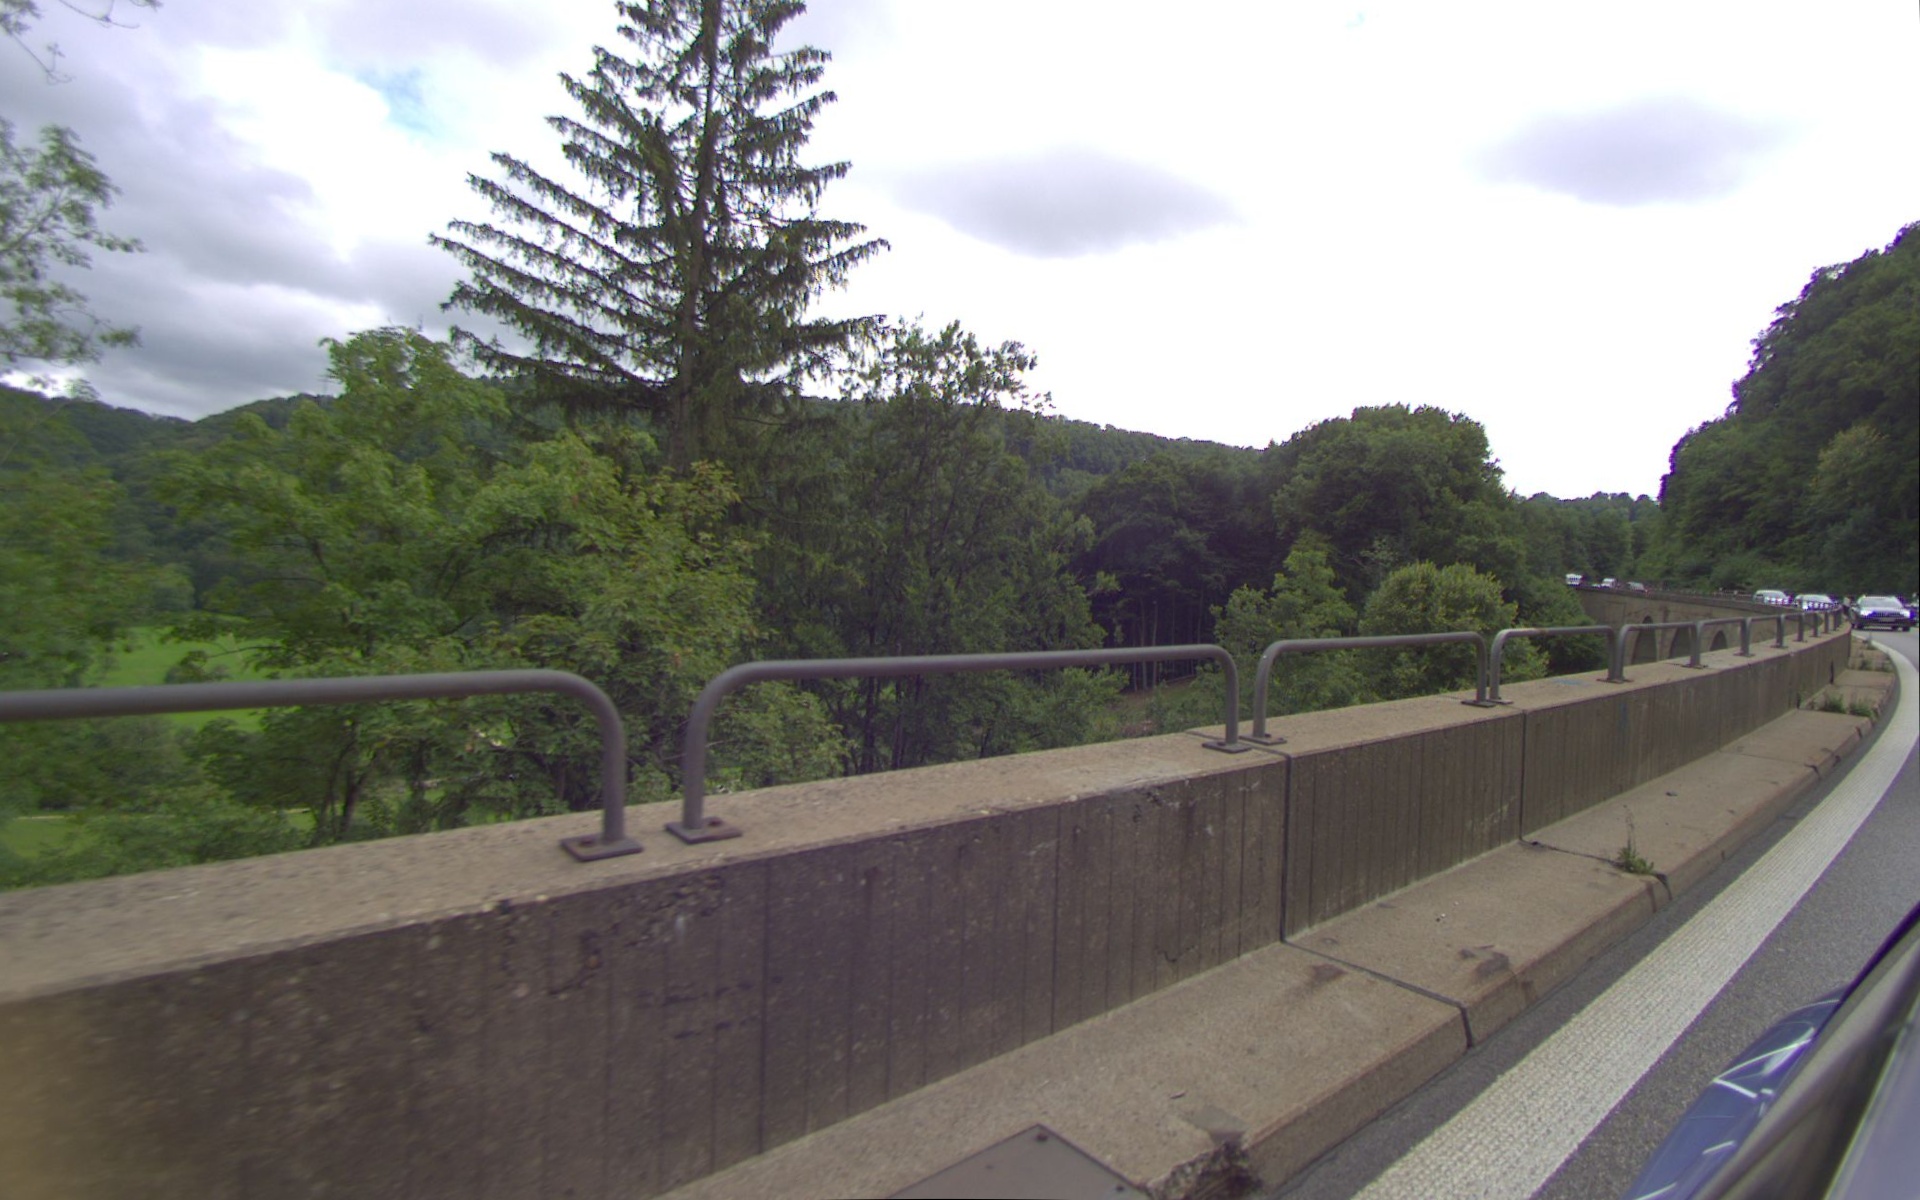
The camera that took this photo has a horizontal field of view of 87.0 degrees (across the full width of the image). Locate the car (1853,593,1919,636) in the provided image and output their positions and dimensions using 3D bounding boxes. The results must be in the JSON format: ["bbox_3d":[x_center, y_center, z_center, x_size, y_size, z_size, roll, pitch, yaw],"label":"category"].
[{"bbox_3d":[40.628,0.588,44.183,1.952,1.727,3.951,0,1,34],"label":"car"}]

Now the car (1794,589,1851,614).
[{"bbox_3d":[48.625,0.058,57.116,1.875,1.336,3.954,0,1,32],"label":"car"}]

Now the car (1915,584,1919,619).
[{"bbox_3d":[46.362,0.108,47.123,1.987,1.652,4.947,0,1,34],"label":"car"}]

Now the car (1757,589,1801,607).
[{"bbox_3d":[62.988,-0.190,77.898,1.872,1.336,3.961,0,1,28],"label":"car"}]
